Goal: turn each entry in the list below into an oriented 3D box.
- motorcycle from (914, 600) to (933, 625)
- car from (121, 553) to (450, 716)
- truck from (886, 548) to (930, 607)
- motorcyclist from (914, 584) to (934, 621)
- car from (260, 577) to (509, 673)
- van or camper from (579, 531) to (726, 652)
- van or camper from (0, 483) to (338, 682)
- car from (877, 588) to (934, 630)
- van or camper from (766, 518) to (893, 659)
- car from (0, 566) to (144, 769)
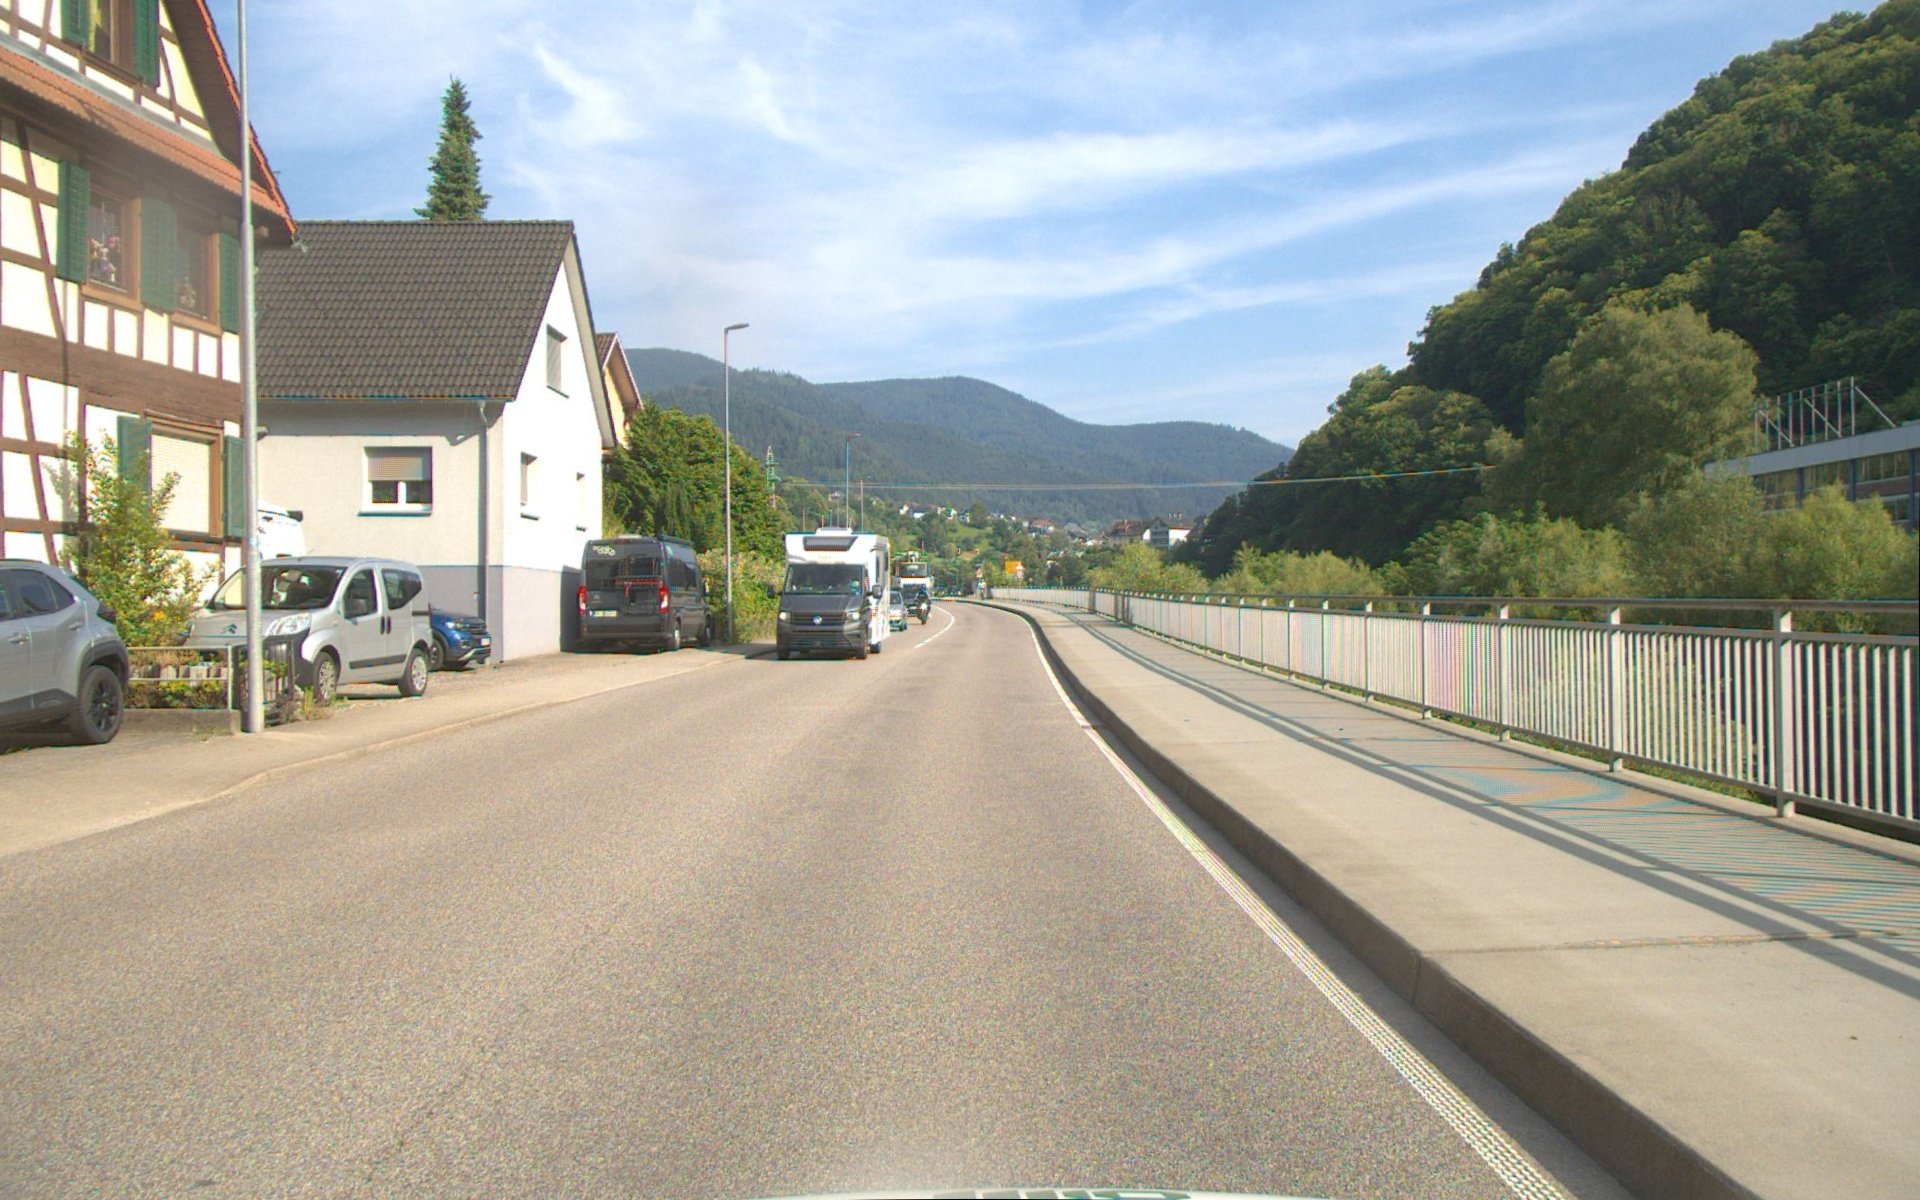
[{"bbox_3d":[-1.605,0.536,72.801,0.640,1.086,2.183,-1,0,4],"label":"motorcycle"},{"bbox_3d":[-7.774,0.357,19.569,1.861,1.693,4.270,0,0,5],"label":"car"},{"bbox_3d":[-3.814,-1.548,119.117,2.528,4.000,11.294,-1,0,-5],"label":"truck"},{"bbox_3d":[-1.587,0.102,72.573,0.808,1.585,0.628,-1,0,5],"label":"motorcyclist"},{"bbox_3d":[-10.447,0.435,30.232,3.837,1.577,1.907,2,1,1],"label":"car"},{"bbox_3d":[-7.060,-0.190,38.683,2.103,2.600,5.903,0,0,2],"label":"van or camper"},{"bbox_3d":[-12.071,-0.274,24.209,5.065,2.710,2.194,1,0,8],"label":"van or camper"},{"bbox_3d":[-2.014,0.314,62.423,1.595,1.511,4.003,1,0,6],"label":"car"},{"bbox_3d":[-2.928,-0.280,38.900,2.149,2.990,7.129,1,1,2],"label":"van or camper"},{"bbox_3d":[-8.225,0.537,12.701,1.845,1.545,4.094,-1,1,0],"label":"car"}]
